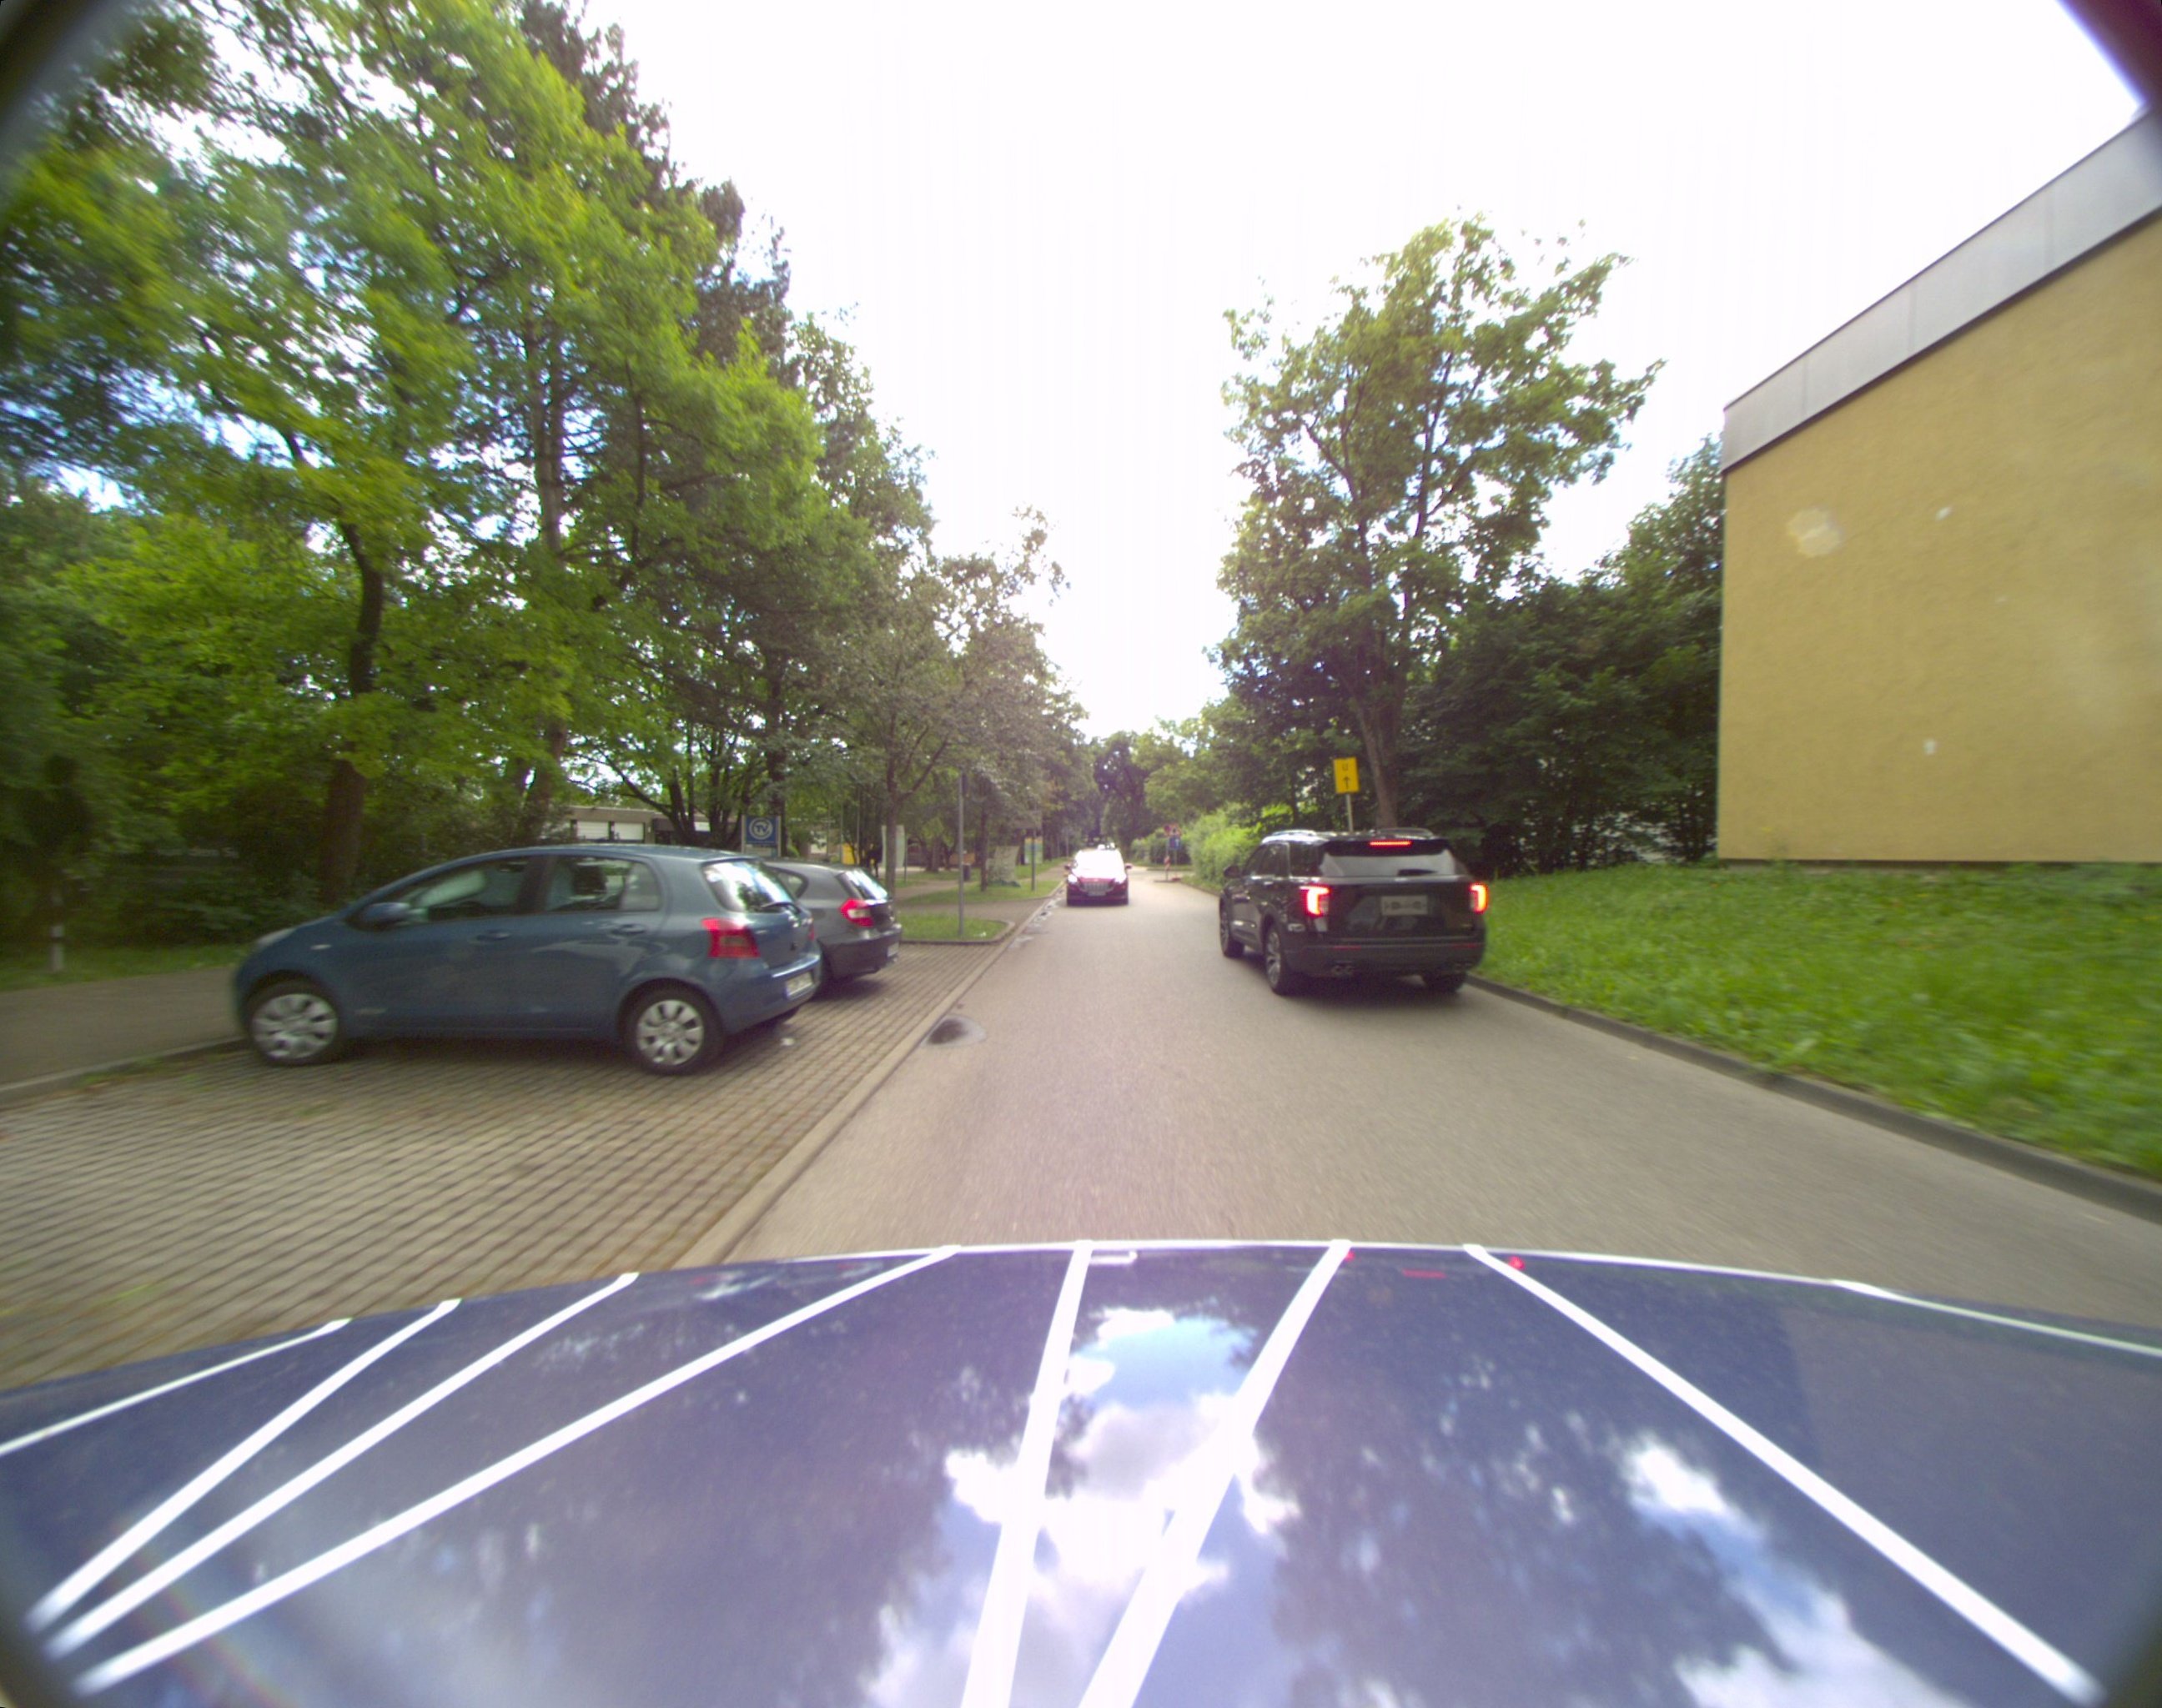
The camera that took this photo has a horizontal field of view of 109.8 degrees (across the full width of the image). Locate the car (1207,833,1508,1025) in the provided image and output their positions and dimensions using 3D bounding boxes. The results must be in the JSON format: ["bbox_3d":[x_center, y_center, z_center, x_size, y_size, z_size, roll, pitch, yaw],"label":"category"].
[{"bbox_3d":[2.900,0.649,9.337,1.918,1.707,5.058,-1,1,1],"label":"car"}]

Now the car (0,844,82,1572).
[{"bbox_3d":[-4.357,0.743,0.751,4.170,1.561,1.785,1,1,-3],"label":"car"}]

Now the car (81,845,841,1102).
[{"bbox_3d":[-4.146,0.746,5.647,4.146,1.561,1.785,1,1,-1],"label":"car"}]

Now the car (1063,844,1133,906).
[{"bbox_3d":[0.512,0.552,23.632,1.918,1.707,5.038,-1,1,1],"label":"car"}]

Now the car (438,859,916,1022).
[{"bbox_3d":[-4.001,0.825,8.062,4.097,1.455,1.785,1,1,-1],"label":"car"}]

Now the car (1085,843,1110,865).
[{"bbox_3d":[1.300,-0.034,60.795,1.918,1.707,5.038,-1,1,1],"label":"car"}]
